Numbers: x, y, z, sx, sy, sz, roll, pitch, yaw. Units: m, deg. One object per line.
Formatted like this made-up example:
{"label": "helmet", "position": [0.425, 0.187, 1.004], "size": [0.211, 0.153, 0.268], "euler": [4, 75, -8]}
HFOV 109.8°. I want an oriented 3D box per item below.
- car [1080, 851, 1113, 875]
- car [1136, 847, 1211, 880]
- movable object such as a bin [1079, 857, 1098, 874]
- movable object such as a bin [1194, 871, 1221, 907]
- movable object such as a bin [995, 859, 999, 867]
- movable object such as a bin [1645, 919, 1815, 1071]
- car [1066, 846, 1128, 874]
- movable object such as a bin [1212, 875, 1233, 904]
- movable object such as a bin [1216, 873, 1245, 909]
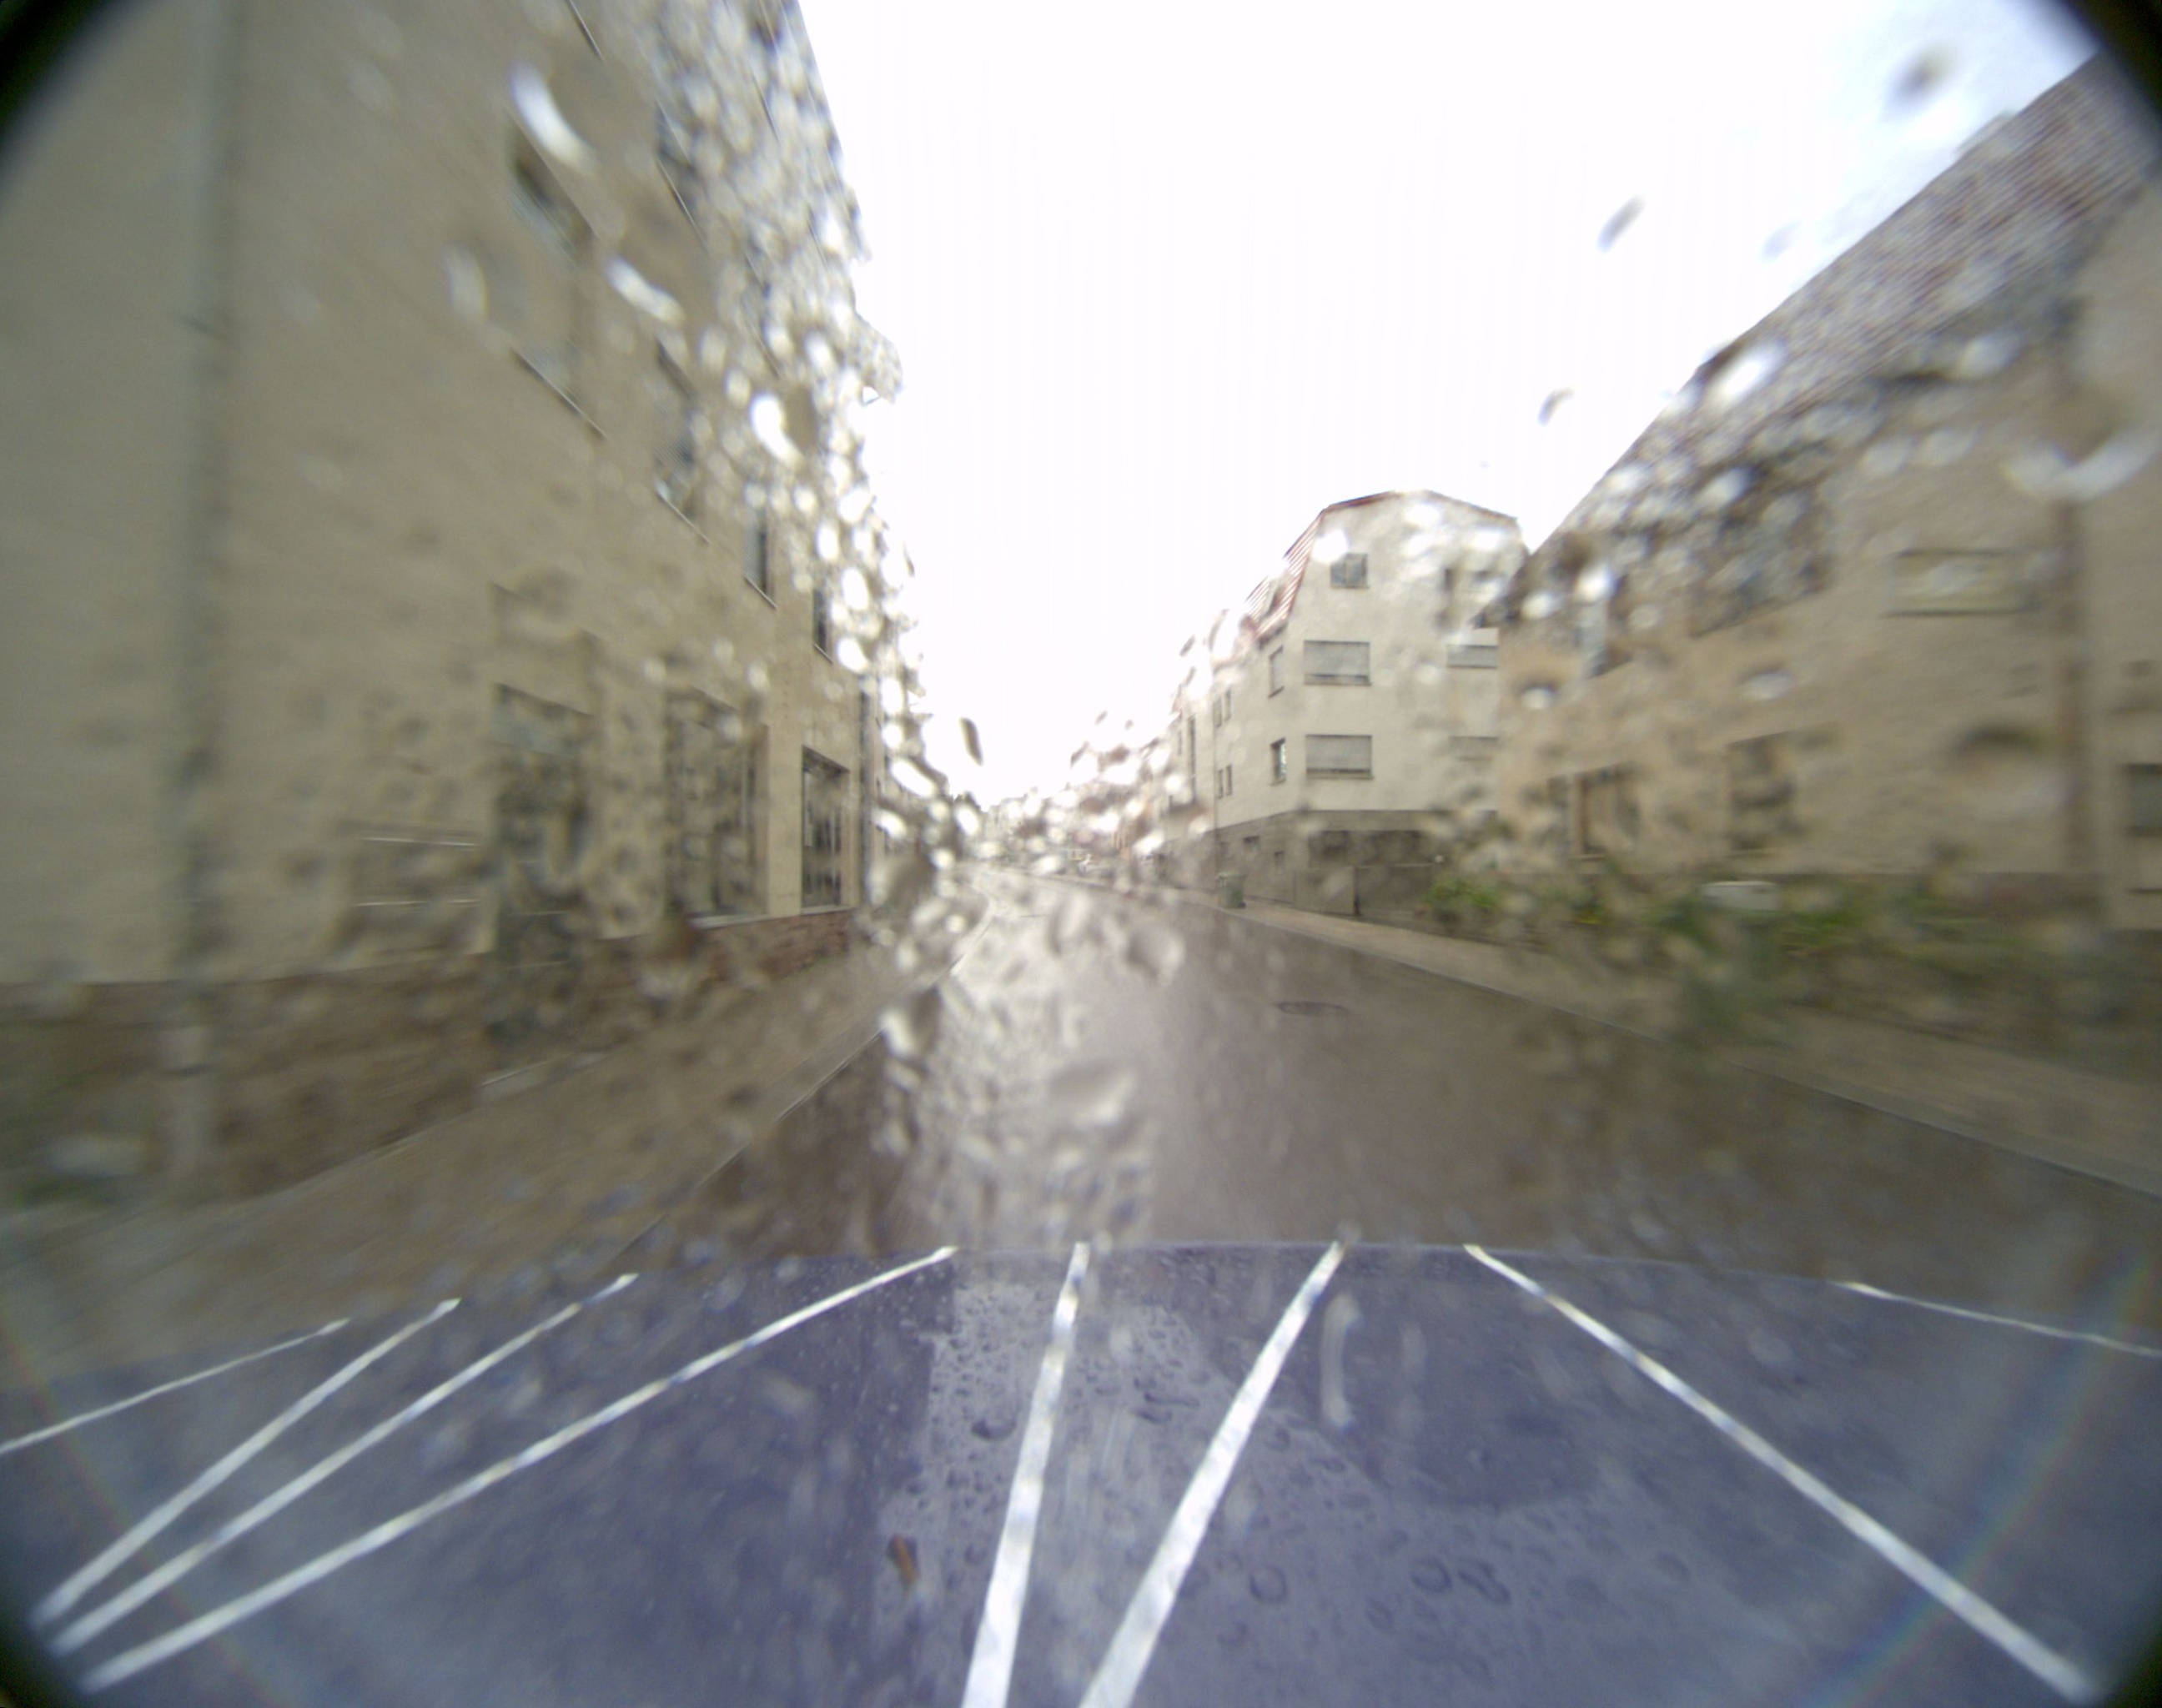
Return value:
{"label": "car", "position": [1.101, 0.615, 55.164], "size": [1.819, 1.696, 4.614], "euler": [0, 0, -6]}
{"label": "car", "position": [5.536, 0.558, 45.574], "size": [4.000, 1.660, 1.876], "euler": [-3, 1, -11]}
{"label": "movable object such as a bin", "position": [0.601, 0.889, 59.981], "size": [1.290, 1.360, 0.995], "euler": [0, 0, -15]}
{"label": "movable object such as a bin", "position": [3.916, 1.090, 23.561], "size": [0.683, 1.060, 0.694], "euler": [-2, 1, -4]}
{"label": "movable object such as a bin", "position": [-10.594, 1.107, 95.834], "size": [0.522, 1.020, 0.414], "euler": [-2, 1, -11]}
{"label": "movable object such as a bin", "position": [5.169, 1.094, 6.099], "size": [0.661, 1.050, 0.763], "euler": [-3, 0, -2]}
{"label": "car", "position": [1.304, 0.461, 62.446], "size": [4.526, 1.967, 1.997], "euler": [-4, 0, -20]}
{"label": "movable object such as a bin", "position": [4.560, 1.139, 24.450], "size": [0.507, 0.917, 0.579], "euler": [-2, 1, -6]}
{"label": "movable object such as a bin", "position": [4.477, 1.098, 22.810], "size": [0.683, 1.039, 0.661], "euler": [-2, 1, -4]}
